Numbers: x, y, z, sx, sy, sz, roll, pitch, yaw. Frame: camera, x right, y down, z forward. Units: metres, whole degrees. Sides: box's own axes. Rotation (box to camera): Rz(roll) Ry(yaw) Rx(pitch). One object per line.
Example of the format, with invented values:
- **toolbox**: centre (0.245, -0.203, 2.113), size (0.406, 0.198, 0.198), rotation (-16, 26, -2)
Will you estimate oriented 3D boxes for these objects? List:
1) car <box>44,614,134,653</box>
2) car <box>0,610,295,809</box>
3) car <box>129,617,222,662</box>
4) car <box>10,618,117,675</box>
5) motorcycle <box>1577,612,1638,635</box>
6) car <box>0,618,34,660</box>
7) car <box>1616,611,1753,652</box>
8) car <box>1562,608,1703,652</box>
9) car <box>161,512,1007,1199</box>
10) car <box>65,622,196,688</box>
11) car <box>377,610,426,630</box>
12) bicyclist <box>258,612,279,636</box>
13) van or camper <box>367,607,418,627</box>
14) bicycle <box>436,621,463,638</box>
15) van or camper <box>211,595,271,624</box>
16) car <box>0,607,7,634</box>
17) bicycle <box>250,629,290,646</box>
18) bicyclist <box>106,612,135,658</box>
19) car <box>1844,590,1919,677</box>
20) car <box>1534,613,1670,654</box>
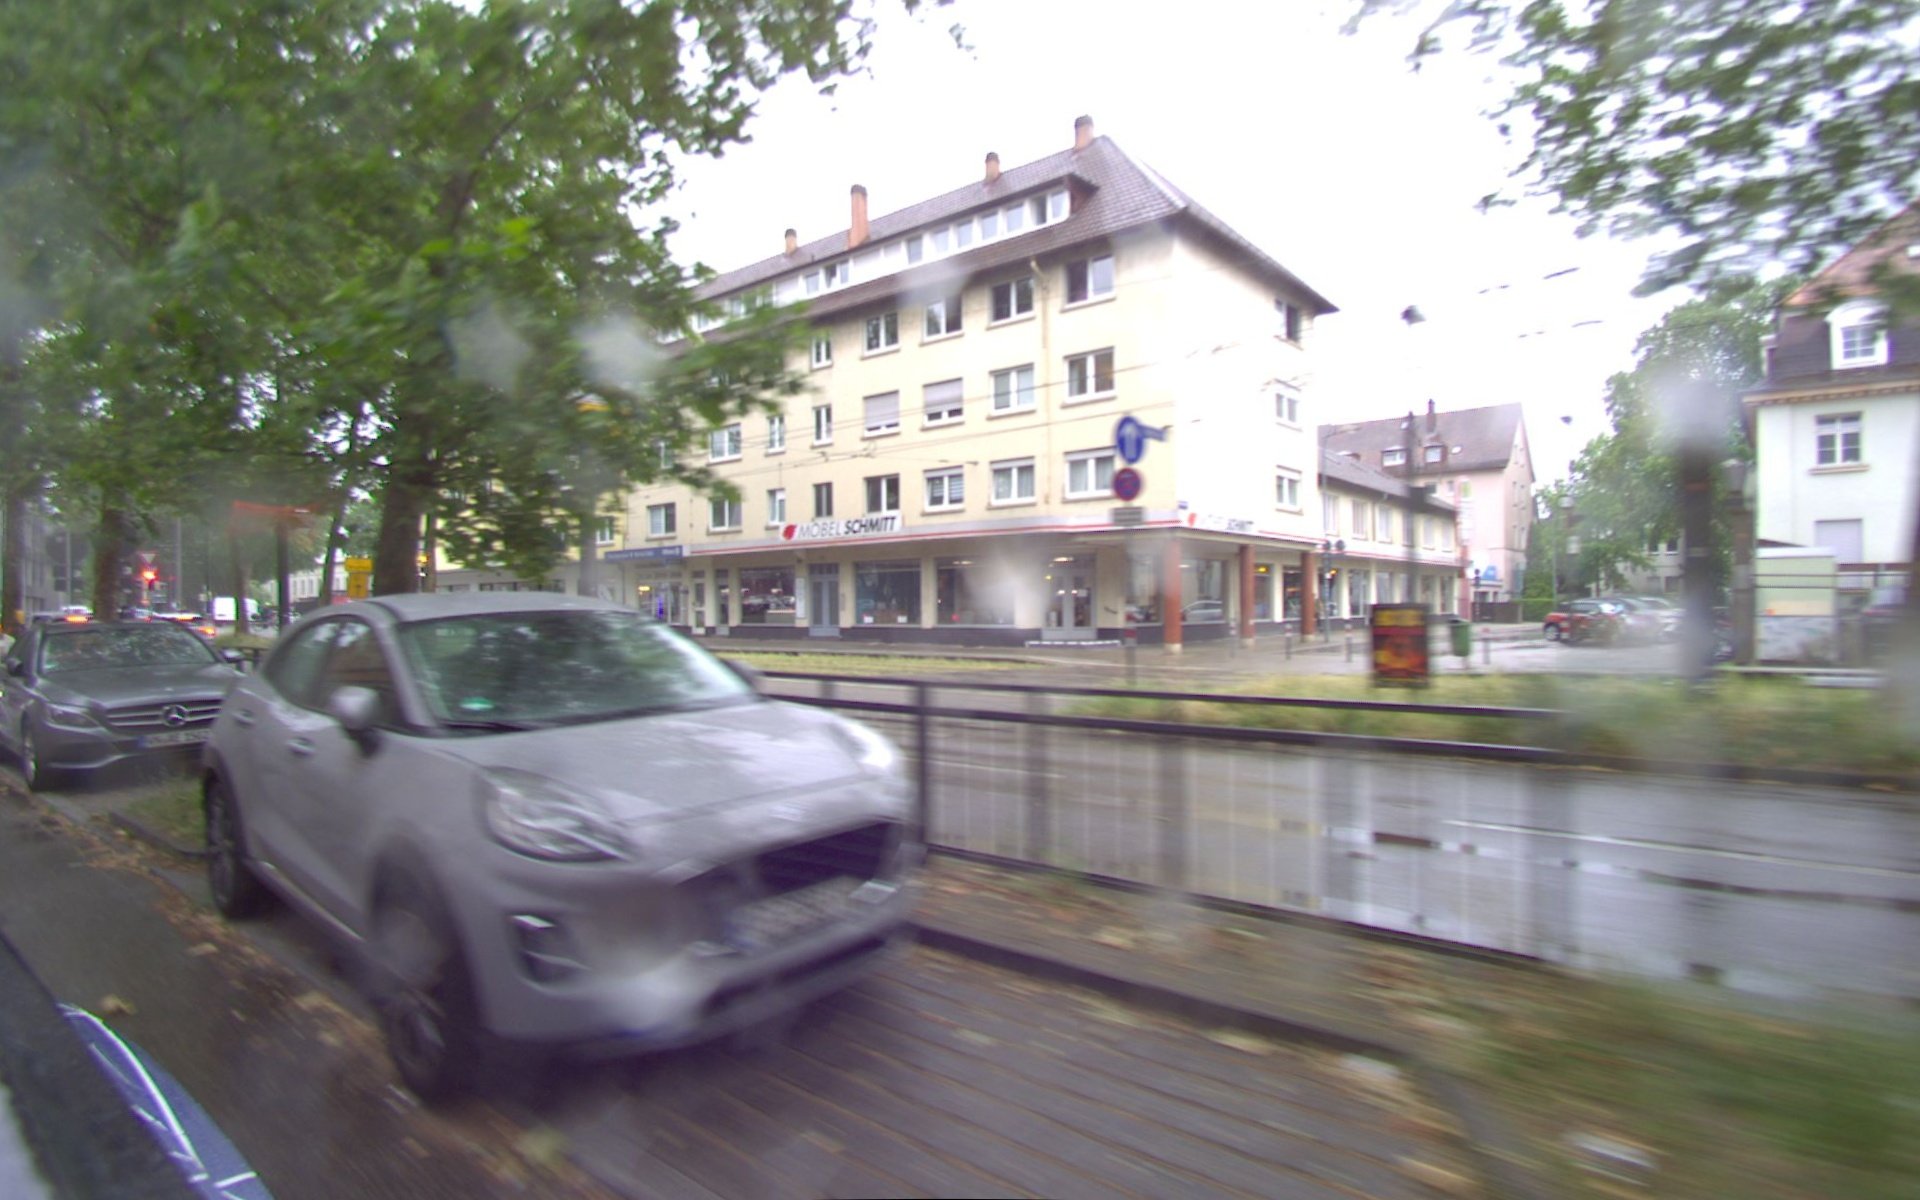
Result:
- **car**: centre (-35.697, 1.349, 41.446), size (4.275, 1.513, 1.857), rotation (-1, -1, 36)
- **car**: centre (-8.506, 0.890, 10.141), size (4.609, 1.515, 1.810), rotation (-1, 1, 40)
- **car**: centre (-26.365, 1.294, 33.969), size (4.128, 1.408, 1.723), rotation (-1, 0, 41)
- **car**: centre (-25.642, 1.276, 28.900), size (4.429, 1.491, 1.723), rotation (-1, 0, 41)
- **motorcycle**: centre (20.952, 0.751, 32.765), size (0.512, 0.715, 1.680), rotation (0, 0, -22)
- **car**: centre (-36.518, 1.446, 38.274), size (4.498, 1.500, 1.717), rotation (-1, 0, 41)
- **car**: centre (27.855, 1.191, 39.055), size (1.663, 1.453, 4.013), rotation (2, -1, -21)
- **car**: centre (24.306, 1.049, 36.737), size (1.663, 1.453, 4.013), rotation (2, -1, -21)
- **car**: centre (-2.003, 0.646, 4.446), size (4.354, 1.648, 1.680), rotation (-1, -1, 42)
- **car**: centre (-19.887, 1.245, 24.205), size (4.230, 1.408, 1.723), rotation (-1, 0, 41)
- **car**: centre (-57.777, 2.049, 104.689), size (4.323, 2.029, 2.073), rotation (0, 0, -33)
- **bicyclist**: centre (-45.305, 1.571, 66.300), size (0.924, 1.481, 0.797), rotation (1, 0, 31)
- **van or camper**: centre (-62.479, 1.906, 111.383), size (4.581, 2.091, 2.003), rotation (2, -1, -40)
- **bicycle**: centre (-27.869, 1.586, 55.211), size (2.045, 0.903, 0.605), rotation (-1, -1, 41)
- **van or camper**: centre (-62.502, 0.790, 88.124), size (2.146, 2.489, 5.986), rotation (0, 0, -13)
- **car**: centre (-61.689, 1.304, 62.112), size (1.766, 1.672, 4.546), rotation (0, 0, 7)
- **bicycle**: centre (-45.231, 2.447, 66.352), size (0.817, 1.096, 1.974), rotation (-2, -1, 36)
- **bicyclist**: centre (-32.438, 1.338, 39.099), size (0.889, 1.729, 0.705), rotation (1, 0, 40)
- **car**: centre (18.497, 0.604, 19.780), size (1.611, 1.553, 3.635), rotation (-2, 0, 44)
- **car**: centre (21.894, 1.101, 34.689), size (1.323, 1.235, 3.865), rotation (-2, 1, -22)
